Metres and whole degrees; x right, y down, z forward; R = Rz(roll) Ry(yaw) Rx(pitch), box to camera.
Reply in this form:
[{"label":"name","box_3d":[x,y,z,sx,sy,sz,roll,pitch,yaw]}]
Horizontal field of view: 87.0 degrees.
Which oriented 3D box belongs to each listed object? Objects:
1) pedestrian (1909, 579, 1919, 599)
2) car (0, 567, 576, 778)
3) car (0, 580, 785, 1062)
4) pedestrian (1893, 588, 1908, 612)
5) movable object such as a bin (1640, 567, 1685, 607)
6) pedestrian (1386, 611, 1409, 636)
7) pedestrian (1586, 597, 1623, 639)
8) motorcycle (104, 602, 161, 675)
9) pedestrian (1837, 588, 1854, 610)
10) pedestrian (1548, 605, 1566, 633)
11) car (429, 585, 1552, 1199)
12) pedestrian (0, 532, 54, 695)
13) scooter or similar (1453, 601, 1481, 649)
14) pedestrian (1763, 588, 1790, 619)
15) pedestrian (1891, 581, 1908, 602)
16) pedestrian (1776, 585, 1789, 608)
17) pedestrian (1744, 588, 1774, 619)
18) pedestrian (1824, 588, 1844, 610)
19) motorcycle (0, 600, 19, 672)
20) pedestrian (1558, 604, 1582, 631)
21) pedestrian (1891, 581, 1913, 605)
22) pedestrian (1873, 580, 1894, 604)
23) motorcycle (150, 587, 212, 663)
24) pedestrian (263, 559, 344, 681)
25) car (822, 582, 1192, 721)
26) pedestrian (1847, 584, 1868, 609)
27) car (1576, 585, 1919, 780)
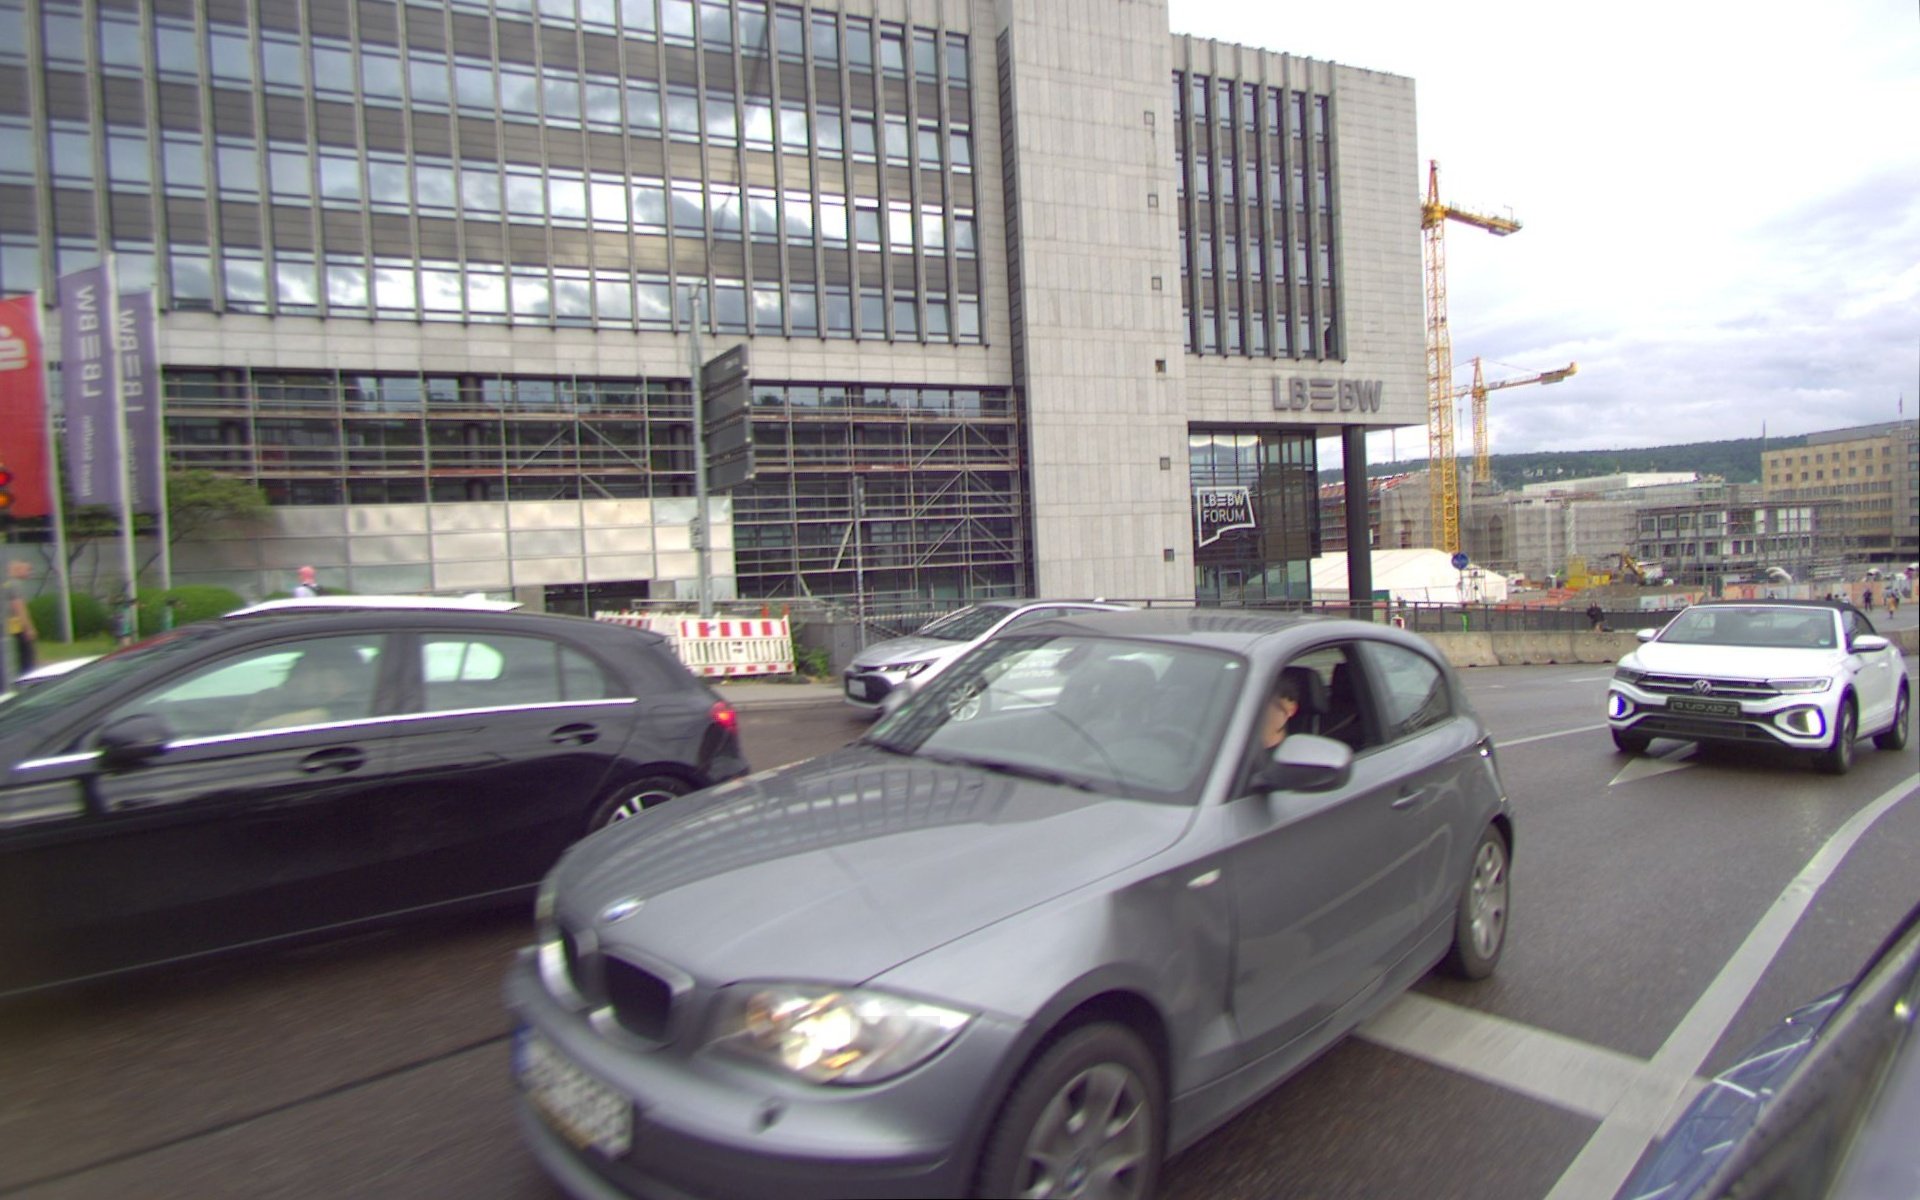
[{"label":"pedestrian","box_3d":[77.634,-0.886,82.072,0.750,1.572,0.650,-2,1,-6]},{"label":"car","box_3d":[-6.044,0.552,9.532,4.485,1.655,1.780,-1,0,-22]},{"label":"car","box_3d":[-2.964,0.655,4.269,1.755,1.425,4.161,1,2,44]},{"label":"pedestrian","box_3d":[65.863,-0.004,70.841,0.892,1.653,0.648,-3,1,-42]},{"label":"movable object such as a bin","box_3d":[63.374,-1.183,91.290,4.152,3.451,1.943,-3,1,-35]},{"label":"pedestrian","box_3d":[29.144,1.575,67.422,0.987,1.572,0.870,-3,1,-13]},{"label":"pedestrian","box_3d":[26.760,0.735,42.013,1.038,1.673,0.733,-2,0,-15]},{"label":"motorcycle","box_3d":[-15.148,0.680,18.528,1.239,1.286,0.611,0,0,41]},{"label":"pedestrian","box_3d":[64.967,-0.092,74.242,0.867,1.541,0.612,-3,1,-23]},{"label":"pedestrian","box_3d":[37.228,1.194,63.136,0.739,1.657,0.587,-2,1,6]},{"label":"car","box_3d":[0.540,0.698,3.557,1.740,1.461,3.936,-1,0,45]},{"label":"pedestrian","box_3d":[-12.825,0.191,13.464,0.846,2.126,0.897,-3,-2,25]},{"label":"scooter or similar","box_3d":[12.761,0.614,25.487,0.561,1.177,0.350,-2,0,-28]},{"label":"pedestrian","box_3d":[43.456,0.184,53.882,0.788,1.594,0.735,-3,0,-15]},{"label":"pedestrian","box_3d":[76.902,-0.663,82.852,0.750,1.675,0.650,-2,1,-6]},{"label":"pedestrian","box_3d":[63.667,-0.261,78.302,0.485,1.770,0.569,-3,1,-24]},{"label":"pedestrian","box_3d":[43.137,0.180,54.649,0.932,1.613,0.865,-3,1,-15]},{"label":"pedestrian","box_3d":[64.608,-0.094,74.837,0.987,1.572,0.718,-3,1,-23]},{"label":"motorcycle","box_3d":[-17.125,0.607,17.755,2.561,1.094,0.626,3,2,41]},{"label":"pedestrian","box_3d":[40.657,1.138,67.468,0.987,1.747,0.870,-3,1,-13]},{"label":"pedestrian","box_3d":[75.644,-0.589,81.282,0.913,1.872,0.821,-2,1,-6]},{"label":"pedestrian","box_3d":[71.715,-0.645,78.601,0.987,1.840,0.870,-3,1,-23]},{"label":"motorcycle","box_3d":[-14.735,0.449,19.131,1.722,1.371,0.598,0,0,41]},{"label":"pedestrian","box_3d":[-9.756,0.274,15.042,0.829,1.732,0.730,-3,1,-43]},{"label":"car","box_3d":[0.687,0.562,12.704,4.526,1.470,1.706,0,-1,-34]},{"label":"pedestrian","box_3d":[65.239,-0.248,73.555,0.873,1.744,0.781,-3,1,-23]},{"label":"car","box_3d":[8.162,0.651,10.219,4.141,1.568,1.968,-1,0,-38]}]
